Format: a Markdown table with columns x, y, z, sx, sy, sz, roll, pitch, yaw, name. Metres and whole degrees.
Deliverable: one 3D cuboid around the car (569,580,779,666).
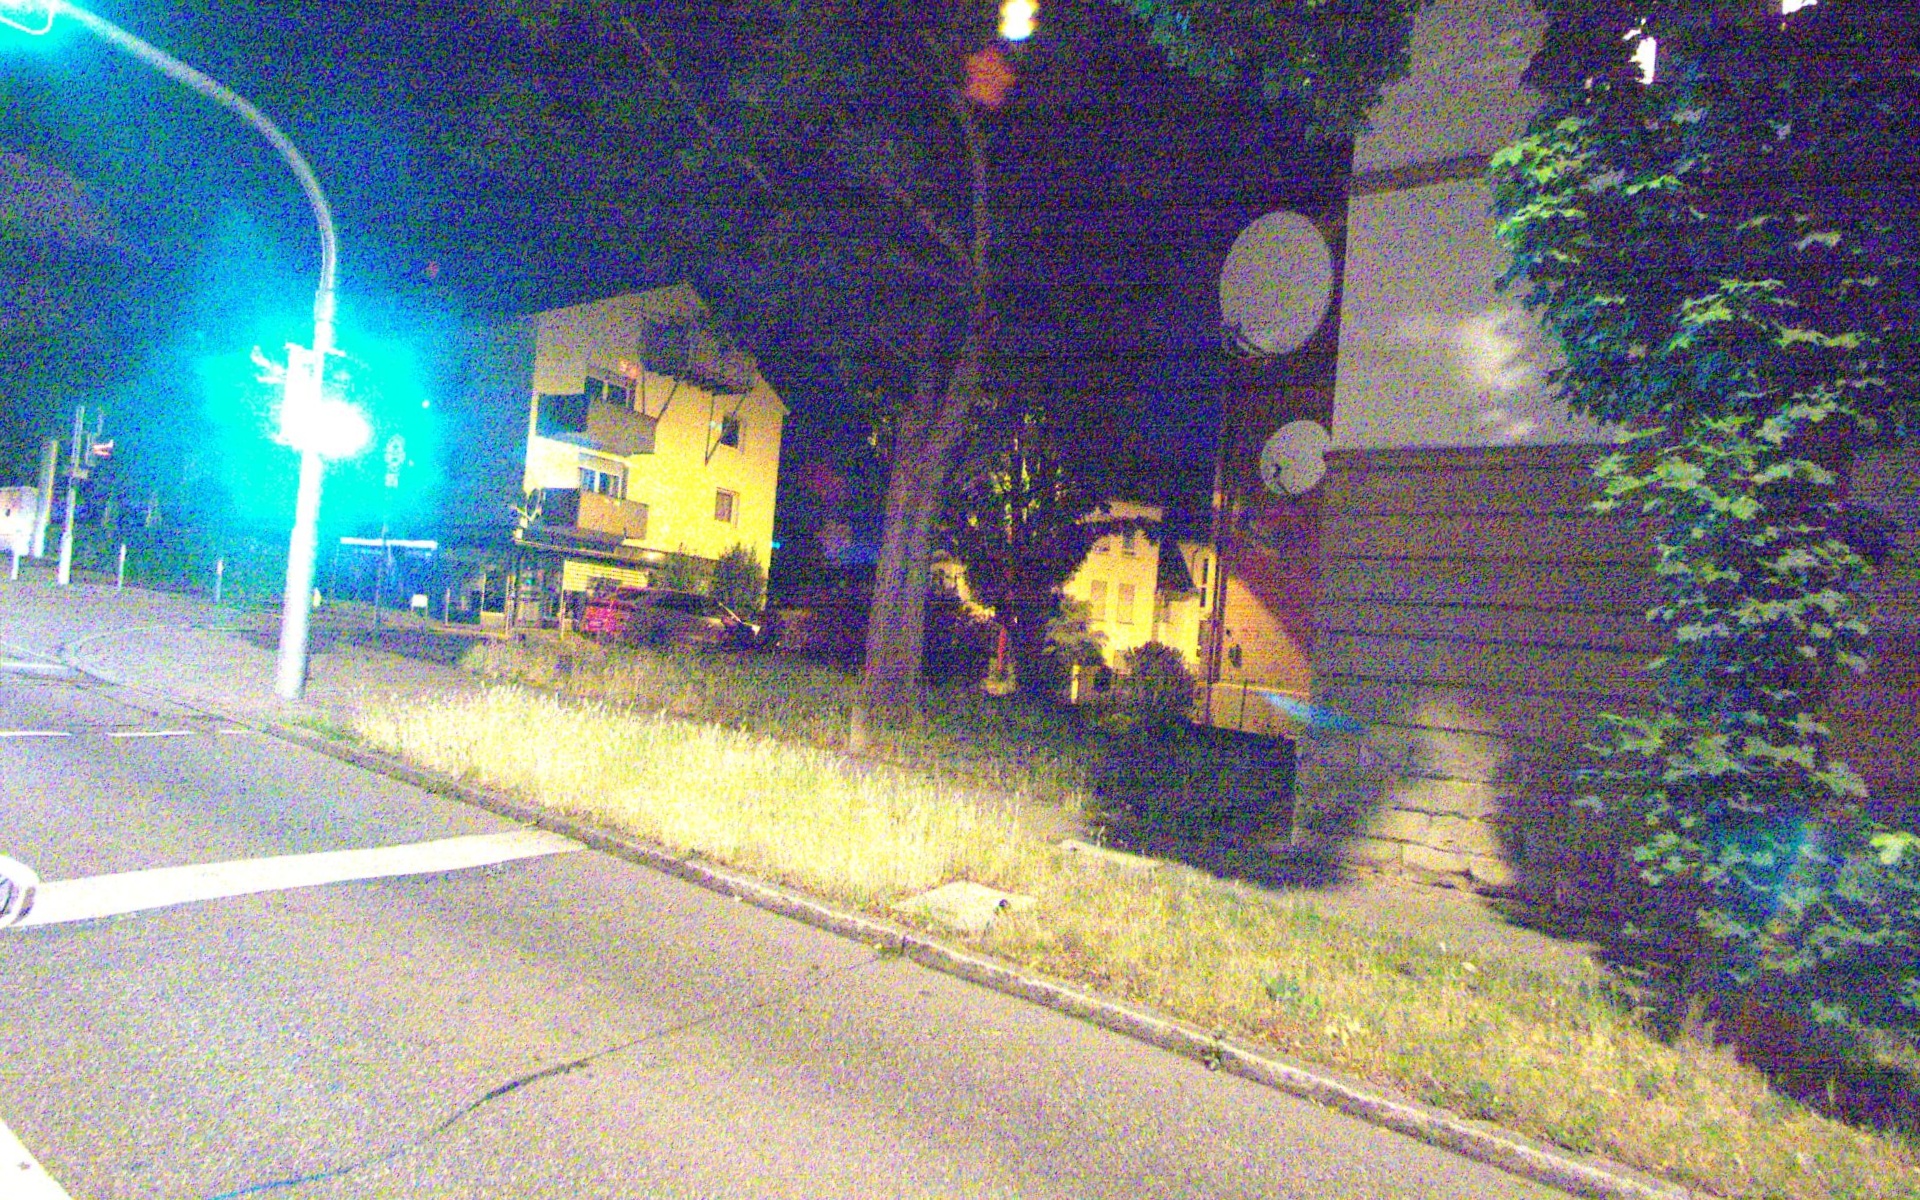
| x | y | z | sx | sy | sz | roll | pitch | yaw | name |
| --- | --- | --- | --- | --- | --- | --- | --- | --- | --- |
| -6.502 | 0.584 | 23.296 | 1.778 | 1.577 | 4.366 | 3 | -3 | 38 | car |
